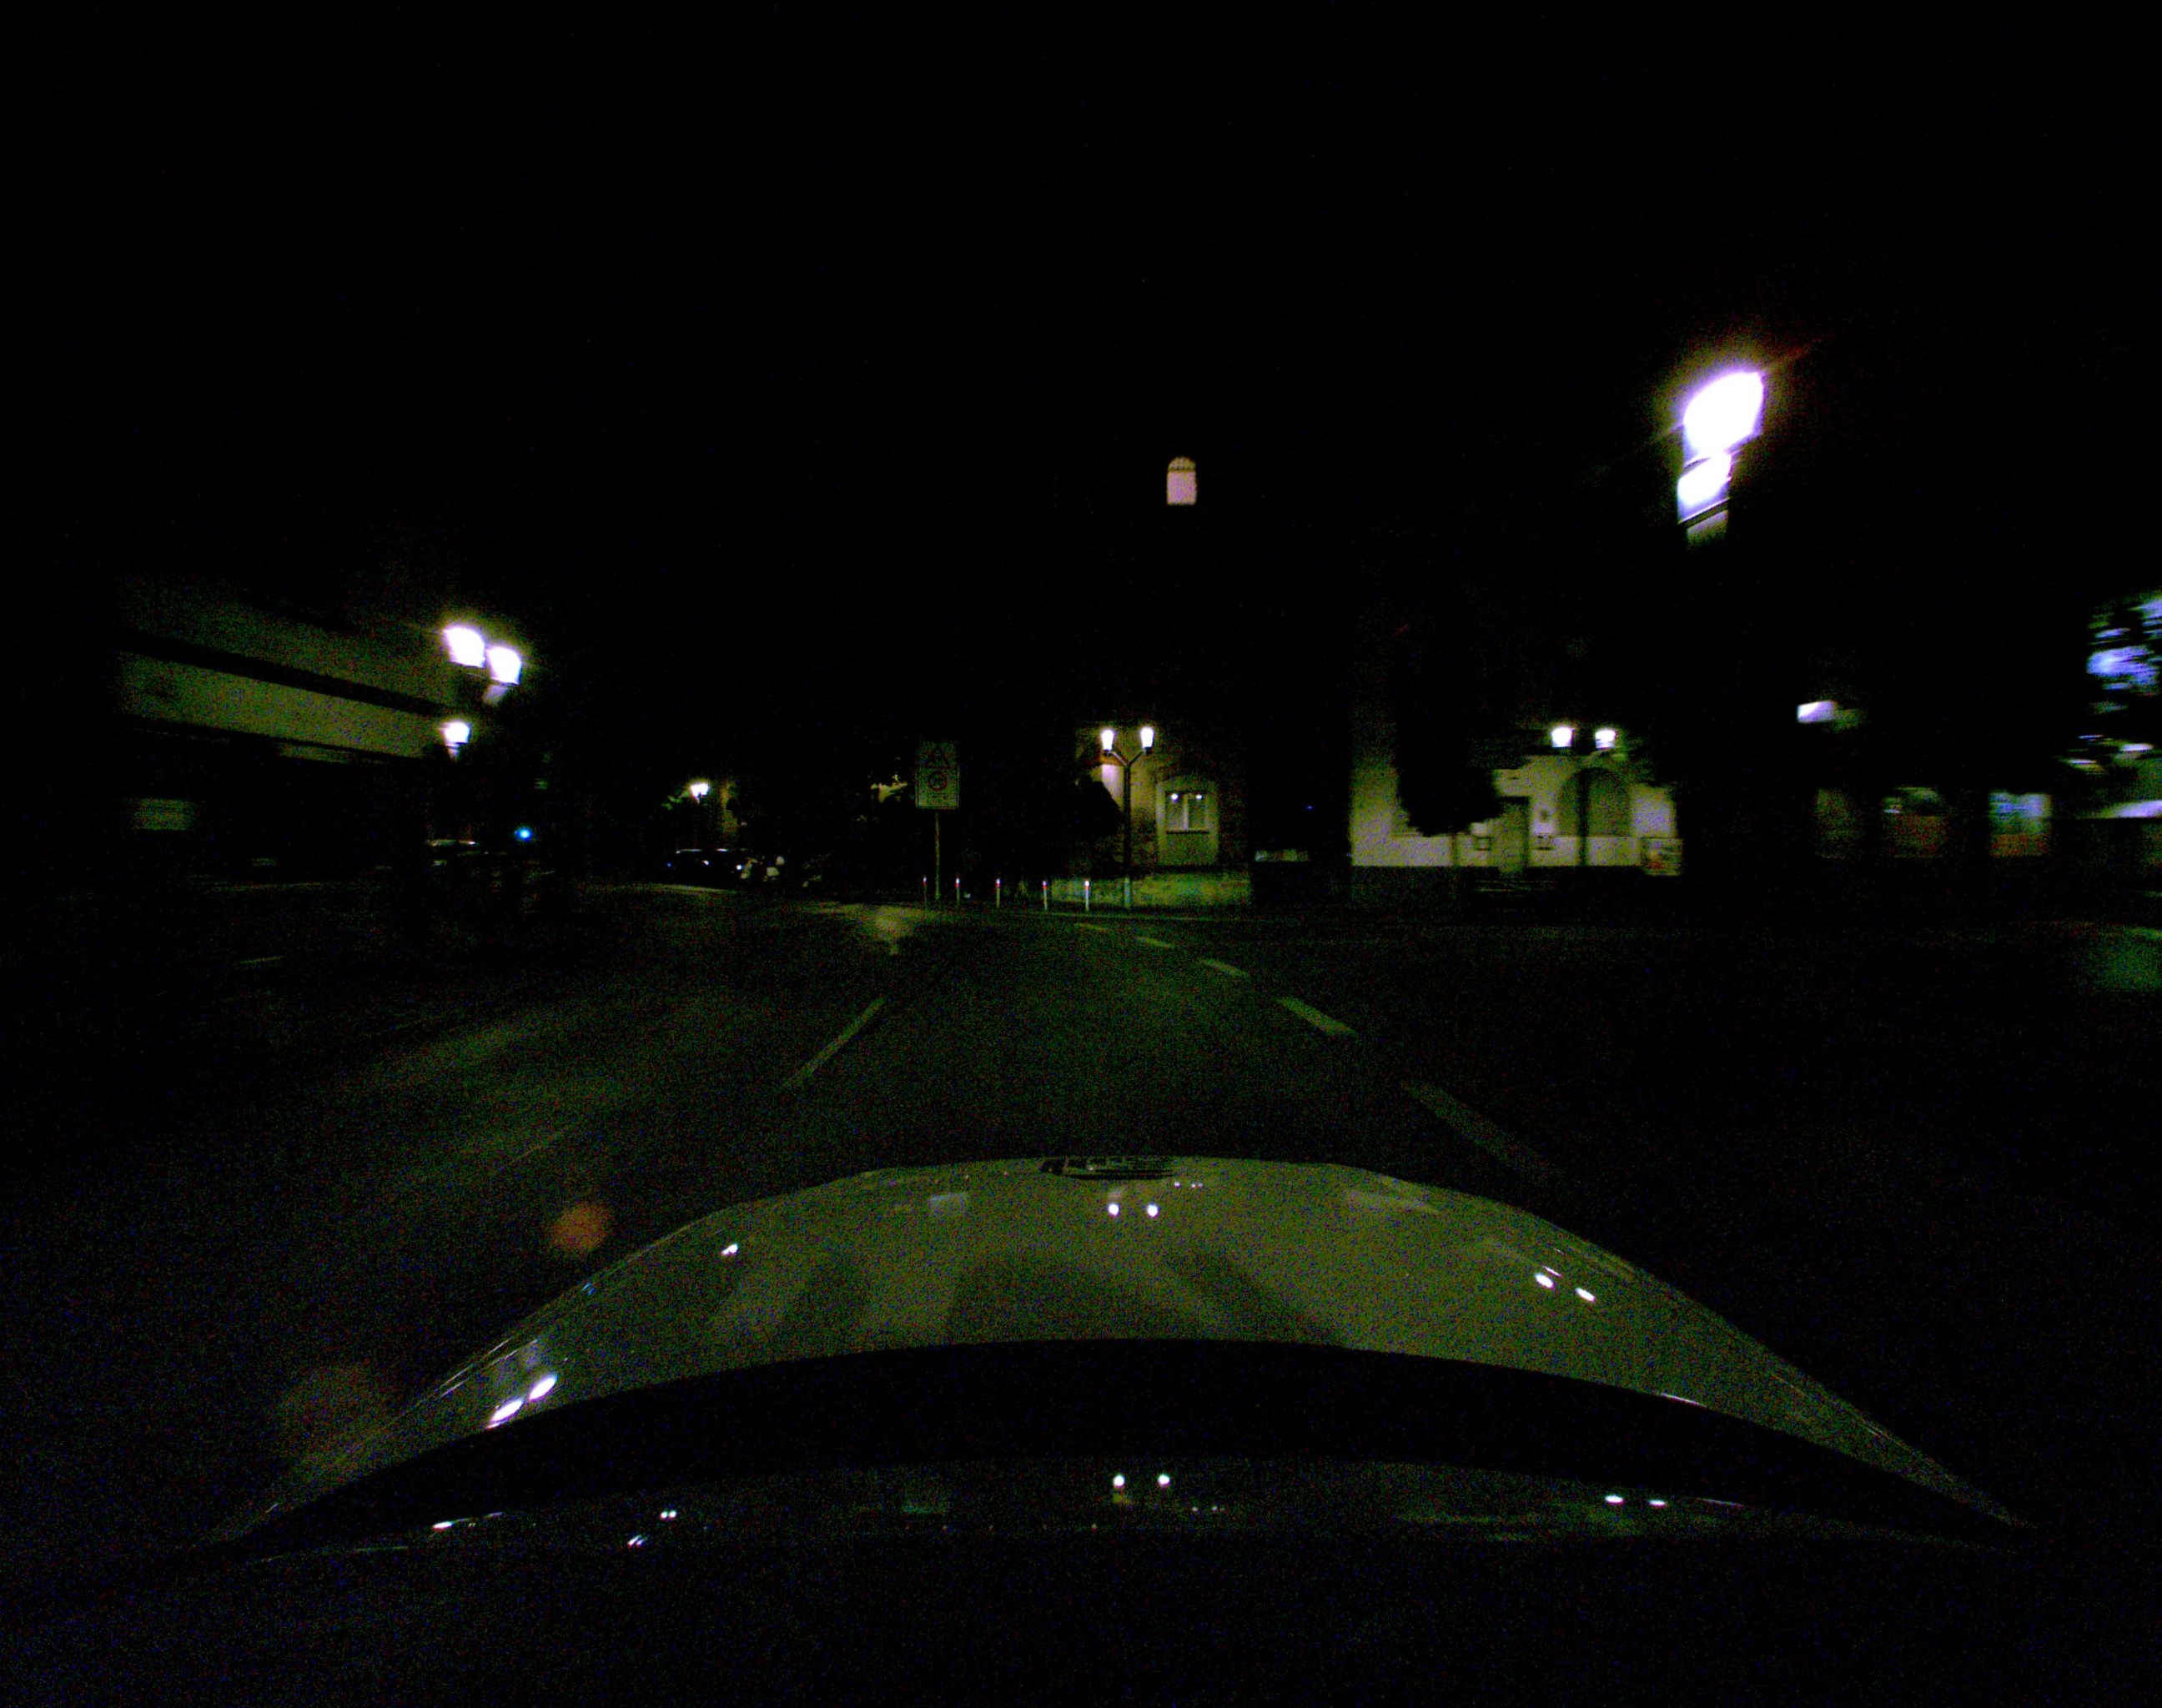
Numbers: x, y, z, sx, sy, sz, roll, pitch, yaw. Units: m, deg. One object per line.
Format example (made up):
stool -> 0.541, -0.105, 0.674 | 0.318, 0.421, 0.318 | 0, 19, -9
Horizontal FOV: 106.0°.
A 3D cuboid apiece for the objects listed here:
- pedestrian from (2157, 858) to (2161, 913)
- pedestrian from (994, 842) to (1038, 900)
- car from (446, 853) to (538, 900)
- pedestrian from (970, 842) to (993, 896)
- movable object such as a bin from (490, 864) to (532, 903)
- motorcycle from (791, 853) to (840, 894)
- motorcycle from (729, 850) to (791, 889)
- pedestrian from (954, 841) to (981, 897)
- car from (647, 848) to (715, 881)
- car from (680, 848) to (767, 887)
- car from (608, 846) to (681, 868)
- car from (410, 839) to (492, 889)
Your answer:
pedestrian -> 25.771, 0.748, 19.078 | 0.463, 1.299, 0.515 | 0, 0, 2
pedestrian -> -1.862, 0.483, 23.428 | 0.954, 1.631, 0.815 | 0, 0, 39
car -> -20.120, 0.699, 27.723 | 1.855, 1.450, 4.821 | 1, -1, -44
pedestrian -> -3.168, 0.461, 25.900 | 0.481, 1.709, 0.564 | -1, 0, -44
movable object such as a bin -> -15.303, 0.787, 21.876 | 0.620, 1.049, 0.690 | 0, -1, 5
motorcycle -> -9.173, 0.665, 28.211 | 0.756, 1.353, 1.950 | 0, 1, 10
motorcycle -> -12.625, 0.575, 32.061 | 0.912, 1.406, 2.073 | 0, 2, 36
pedestrian -> -3.520, 0.446, 25.308 | 0.511, 1.709, 0.696 | -1, 0, -44
car -> -18.445, 0.440, 37.455 | 1.752, 1.454, 3.952 | -1, 1, -43
car -> -14.855, 0.512, 33.775 | 4.411, 1.501, 1.748 | 0, 0, 44
car -> -30.042, 0.214, 56.137 | 1.829, 1.422, 4.052 | -2, -1, 43
car -> -25.065, 0.358, 32.346 | 4.755, 1.843, 1.900 | 1, 0, 44
